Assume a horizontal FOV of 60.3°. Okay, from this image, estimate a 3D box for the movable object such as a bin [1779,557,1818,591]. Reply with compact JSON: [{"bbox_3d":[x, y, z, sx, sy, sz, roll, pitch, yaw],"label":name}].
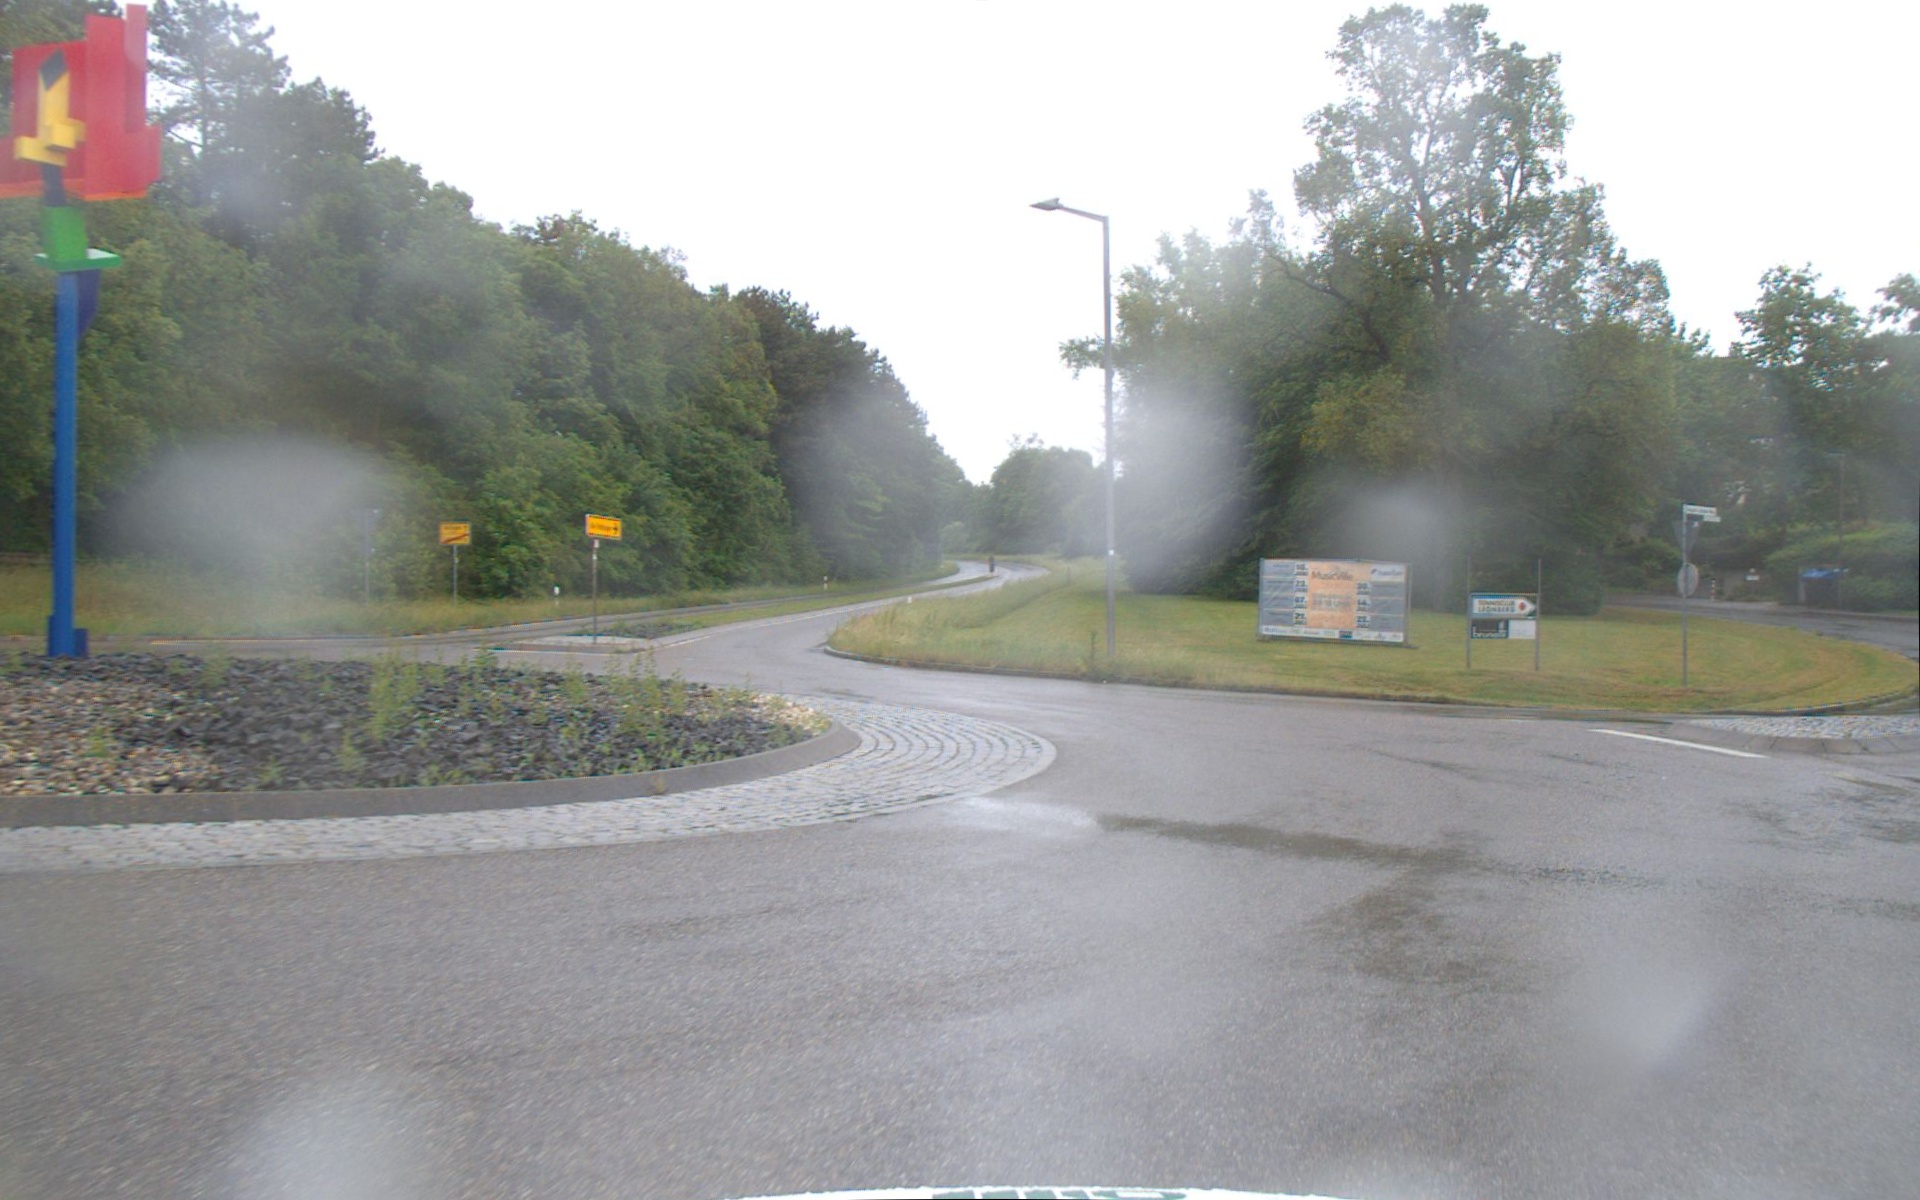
[{"bbox_3d":[35.832,-1.115,70.694,1.168,1.462,1.430,1,1,13],"label":"movable object such as a bin"}]
